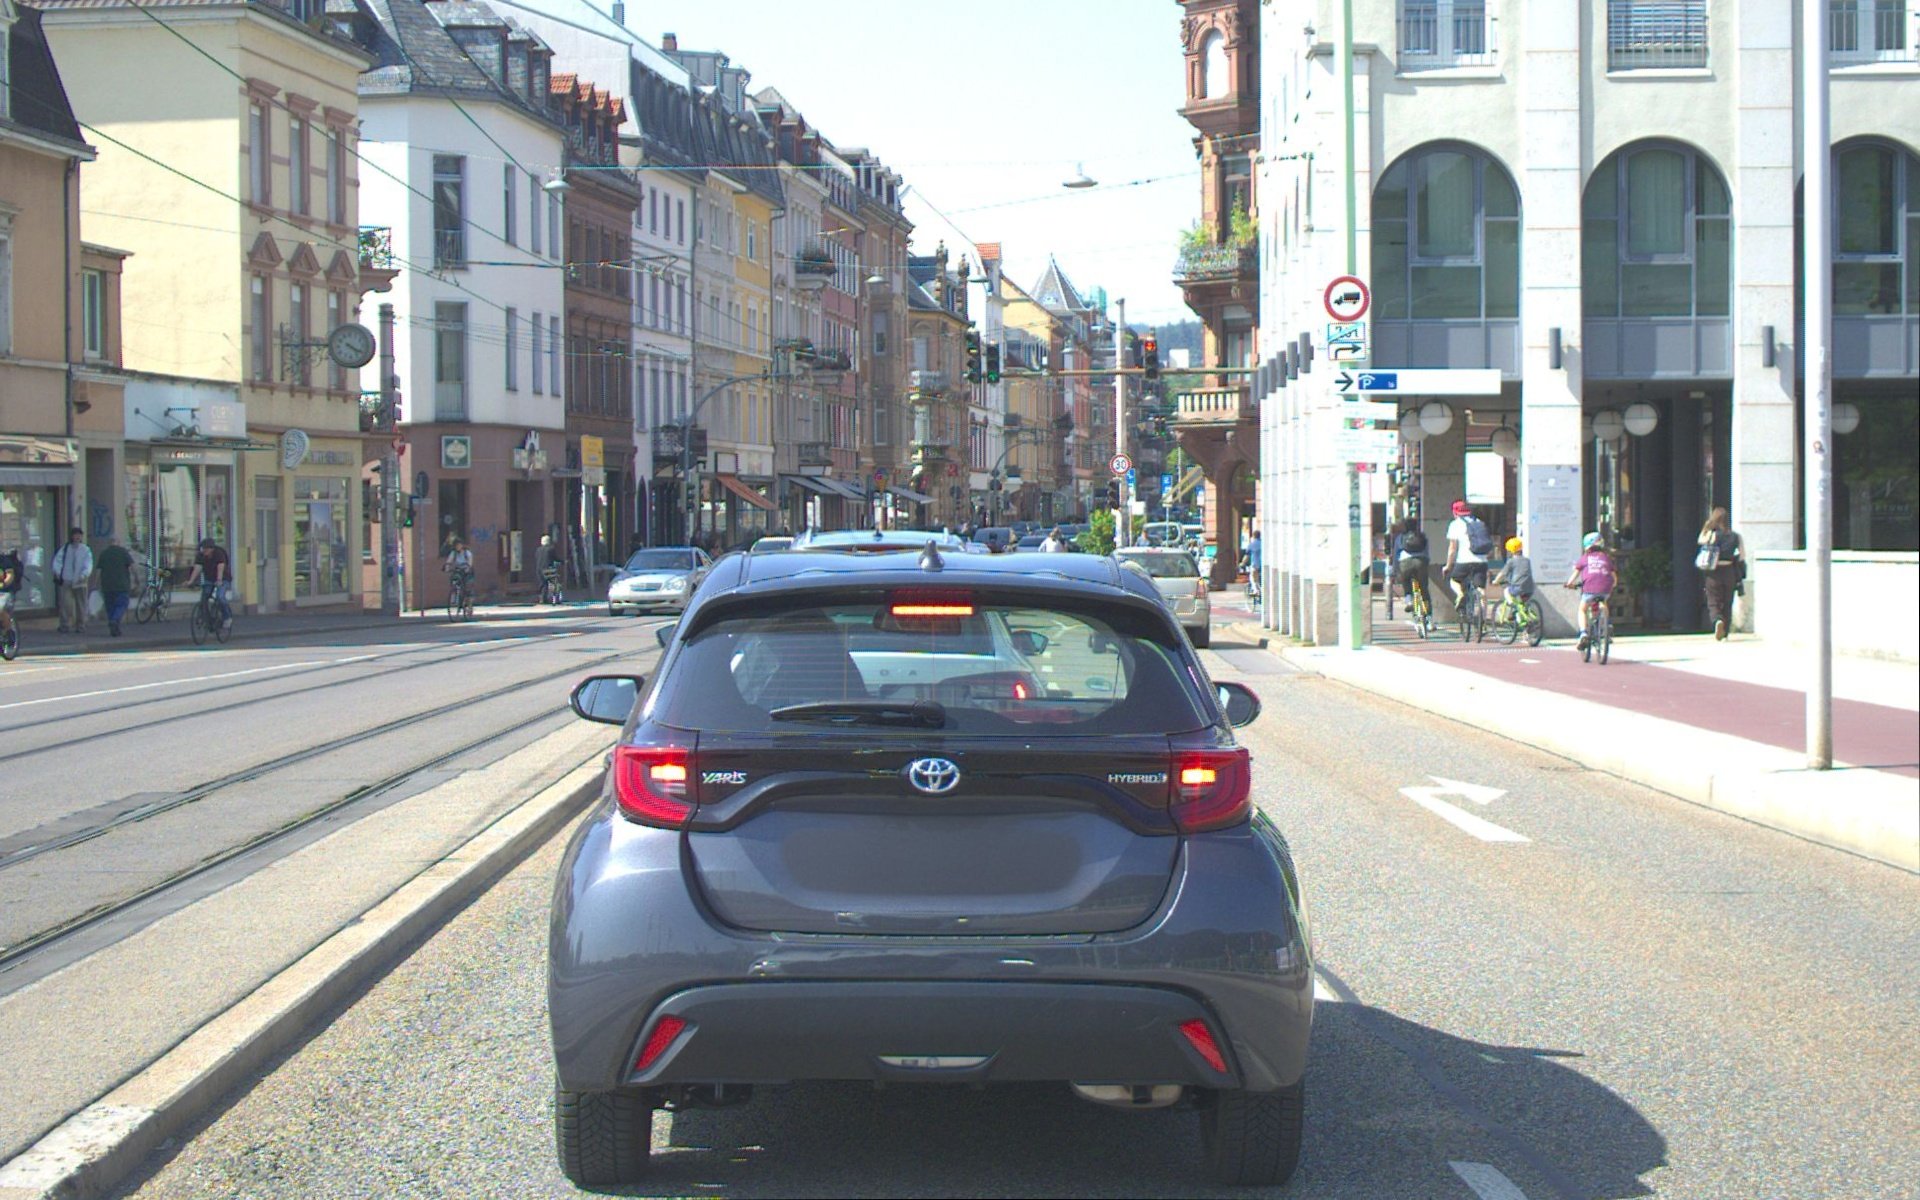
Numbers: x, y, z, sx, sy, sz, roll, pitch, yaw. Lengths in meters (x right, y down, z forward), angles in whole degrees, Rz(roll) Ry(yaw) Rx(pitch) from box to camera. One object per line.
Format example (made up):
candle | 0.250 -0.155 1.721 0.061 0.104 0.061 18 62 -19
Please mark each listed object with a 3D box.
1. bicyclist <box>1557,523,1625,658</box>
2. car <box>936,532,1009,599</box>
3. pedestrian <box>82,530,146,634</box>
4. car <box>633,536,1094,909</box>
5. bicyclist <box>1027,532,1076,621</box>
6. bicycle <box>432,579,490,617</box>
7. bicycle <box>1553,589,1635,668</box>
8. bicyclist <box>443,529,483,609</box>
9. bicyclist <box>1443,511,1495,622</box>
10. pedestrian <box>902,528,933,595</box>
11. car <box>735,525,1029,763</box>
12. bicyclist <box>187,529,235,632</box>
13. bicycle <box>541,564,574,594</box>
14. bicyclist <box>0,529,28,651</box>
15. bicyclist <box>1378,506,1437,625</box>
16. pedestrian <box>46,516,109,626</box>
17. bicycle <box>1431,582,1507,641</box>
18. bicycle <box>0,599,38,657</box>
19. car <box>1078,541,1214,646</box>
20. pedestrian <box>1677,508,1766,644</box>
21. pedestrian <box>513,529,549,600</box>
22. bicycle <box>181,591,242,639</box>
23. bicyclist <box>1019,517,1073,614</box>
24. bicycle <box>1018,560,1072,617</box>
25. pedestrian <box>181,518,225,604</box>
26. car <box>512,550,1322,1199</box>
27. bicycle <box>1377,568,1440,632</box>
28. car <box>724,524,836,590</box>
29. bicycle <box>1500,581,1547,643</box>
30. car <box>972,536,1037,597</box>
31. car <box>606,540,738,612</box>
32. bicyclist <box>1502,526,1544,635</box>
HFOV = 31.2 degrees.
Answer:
bicyclist | 6.600 -0.107 35.960 0.534 1.378 0.669 -2 1 -1
car | 0.411 -1.057 106.515 1.994 2.007 3.999 1 0 4
pedestrian | -13.838 -0.294 56.242 0.762 1.648 0.711 4 1 0
car | -0.444 0.476 16.375 1.897 1.525 4.000 1 1 -1
bicyclist | 2.686 -0.686 100.711 1.228 2.520 1.105 4 1 5
bicycle | -10.384 -0.041 71.643 0.620 0.713 2.044 2 2 9
bicycle | 6.609 0.288 35.881 0.514 0.763 1.661 -2 1 -1
bicyclist | -10.364 -0.654 71.692 0.627 1.644 0.621 2 2 8
bicyclist | 6.820 -0.452 46.073 0.484 1.461 0.443 -3 1 -39
pedestrian | -1.705 -1.545 137.044 1.051 2.579 1.501 4 1 0
car | -0.550 0.254 24.529 1.897 1.525 4.000 1 1 -1
bicyclist | -12.224 -0.316 56.120 0.627 1.644 0.622 1 2 0
bicycle | -10.091 -0.536 86.257 0.620 0.713 1.771 1 1 -1
bicyclist | -13.167 -0.149 47.044 0.627 1.644 0.622 1 2 0
bicyclist | 6.479 -0.506 49.853 0.701 1.689 0.924 -1 1 0
pedestrian | -14.663 -0.486 57.144 0.736 1.760 0.787 4 1 0
bicycle | 6.825 0.156 46.094 0.416 0.763 0.961 -3 1 -39
bicycle | -13.181 0.379 47.088 0.620 0.713 1.771 1 2 -1
car | 2.753 -0.130 51.714 1.705 1.461 4.326 1 1 -1
pedestrian | 9.412 -0.304 42.519 0.739 1.609 1.016 4 1 -1
pedestrian | -10.768 -0.897 86.267 0.736 1.760 0.787 -2 1 0
bicycle | -12.232 0.236 56.199 0.620 0.713 1.731 1 2 -1
bicyclist | 2.325 -0.934 92.966 1.228 2.520 1.105 4 1 -2
bicycle | 2.278 -0.315 92.647 1.112 1.415 3.008 3 1 -4
pedestrian | -14.642 -0.755 66.496 0.649 1.596 0.566 4 3 0
car | -0.129 0.624 9.235 1.720 1.468 3.658 1 1 -1
bicycle | 6.493 -0.009 49.857 0.704 0.879 1.525 -1 1 0
car | -4.487 -1.082 86.209 1.994 1.581 4.651 0 1 7
bicycle | 7.239 0.144 44.190 0.416 0.763 0.962 -2 1 -1
car | 1.614 -1.219 122.983 1.994 2.007 4.000 4 1 4
car | -5.923 -0.515 71.274 1.732 1.455 4.372 0 1 9
bicyclist | 7.228 -0.249 44.160 0.422 1.378 0.443 -2 1 -1
